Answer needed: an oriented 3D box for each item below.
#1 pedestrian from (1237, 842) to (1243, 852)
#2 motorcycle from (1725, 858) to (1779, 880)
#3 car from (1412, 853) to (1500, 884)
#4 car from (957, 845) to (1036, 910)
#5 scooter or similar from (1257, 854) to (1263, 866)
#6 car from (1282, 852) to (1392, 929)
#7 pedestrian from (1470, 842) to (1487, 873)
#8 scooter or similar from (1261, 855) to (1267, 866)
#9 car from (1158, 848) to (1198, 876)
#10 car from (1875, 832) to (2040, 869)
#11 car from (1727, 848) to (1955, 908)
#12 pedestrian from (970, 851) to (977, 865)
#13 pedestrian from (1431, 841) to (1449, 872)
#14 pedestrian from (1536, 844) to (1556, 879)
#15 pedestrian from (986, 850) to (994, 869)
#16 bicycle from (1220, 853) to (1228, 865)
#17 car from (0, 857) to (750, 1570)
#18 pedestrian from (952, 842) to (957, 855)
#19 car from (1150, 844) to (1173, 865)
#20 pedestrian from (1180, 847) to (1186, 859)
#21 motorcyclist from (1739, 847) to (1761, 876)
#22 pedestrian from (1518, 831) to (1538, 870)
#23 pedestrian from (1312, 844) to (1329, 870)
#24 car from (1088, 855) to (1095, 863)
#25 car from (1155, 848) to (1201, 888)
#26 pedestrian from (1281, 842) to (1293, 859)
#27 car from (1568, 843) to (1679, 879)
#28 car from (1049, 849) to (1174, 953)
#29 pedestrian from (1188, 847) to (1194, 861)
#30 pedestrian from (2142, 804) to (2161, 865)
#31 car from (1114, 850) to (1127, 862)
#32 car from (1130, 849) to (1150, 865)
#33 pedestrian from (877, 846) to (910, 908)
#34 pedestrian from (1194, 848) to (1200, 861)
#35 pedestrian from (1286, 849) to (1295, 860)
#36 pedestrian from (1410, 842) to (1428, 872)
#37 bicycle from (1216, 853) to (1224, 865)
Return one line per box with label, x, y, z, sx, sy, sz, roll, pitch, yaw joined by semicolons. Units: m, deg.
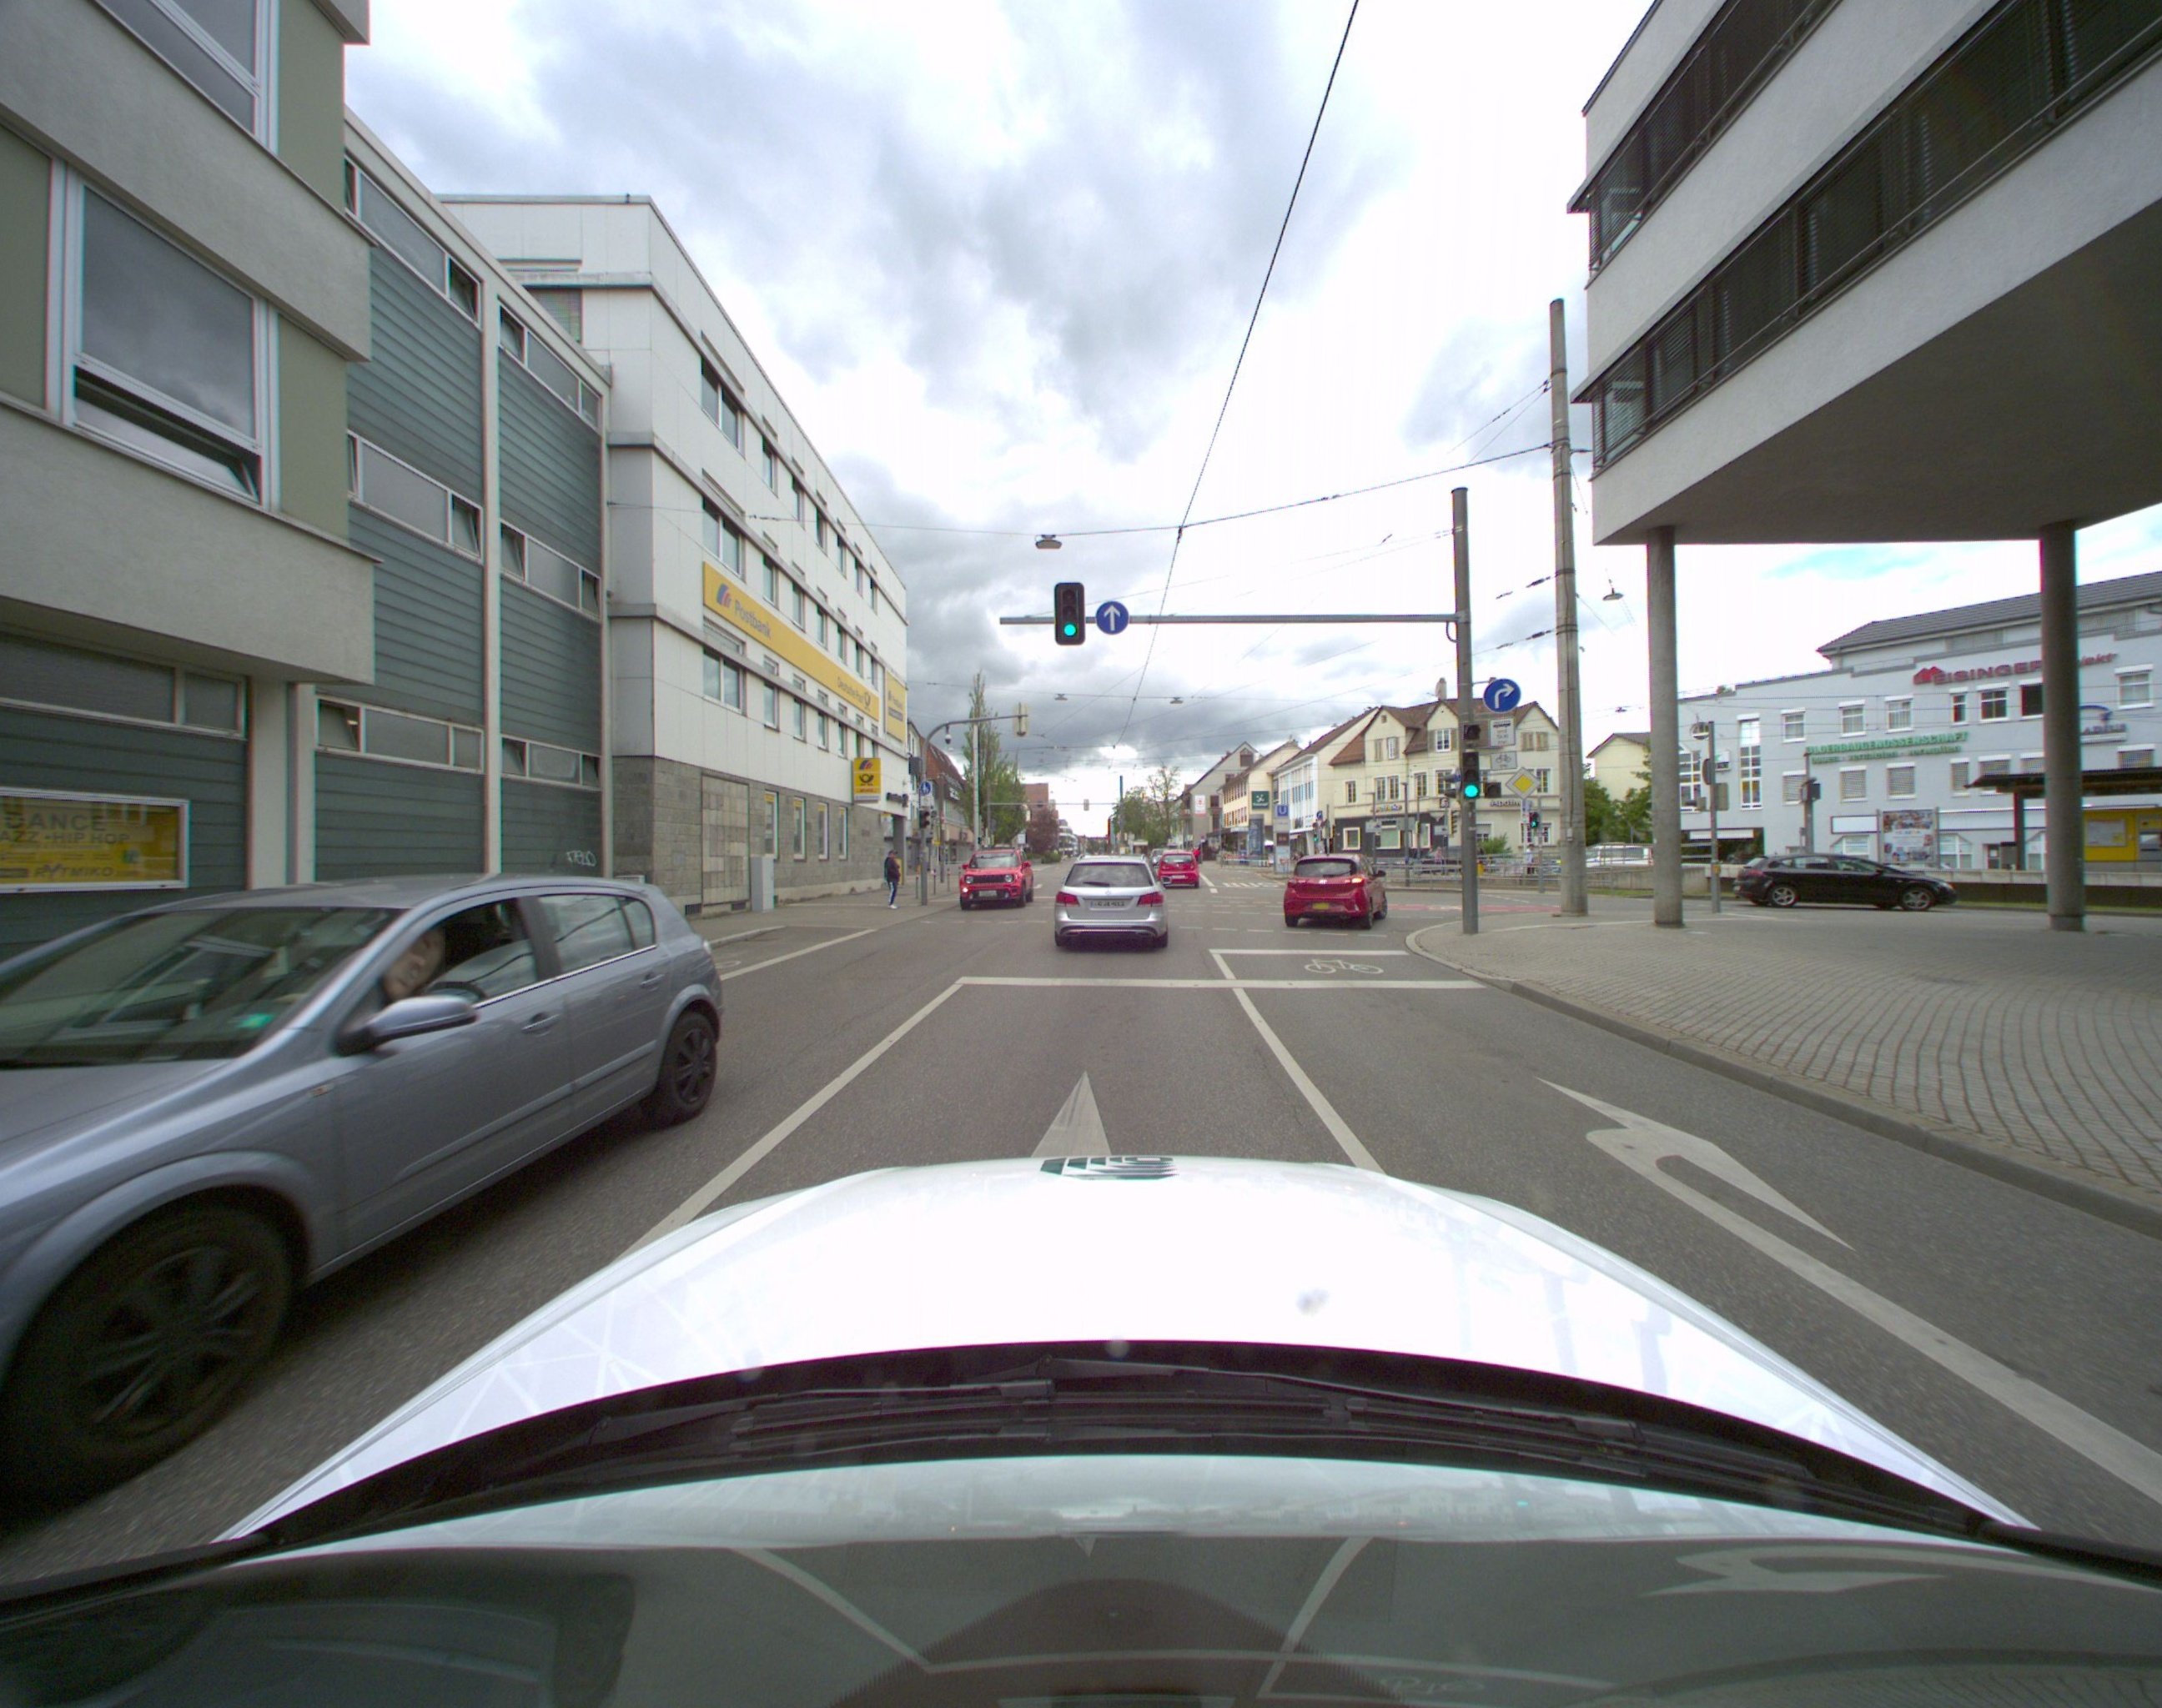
pedestrian;18.826;-0.828;96.372;0.532;1.218;0.579;0;0;-2
motorcycle;33.312;0.739;40.468;0.767;1.073;1.957;1;-1;-39
car;23.598;0.902;51.360;4.638;1.821;1.875;0;-1;45
car;-2.397;0.621;23.890;1.793;1.694;3.898;-2;0;1
scooter or similar;16.205;0.538;73.595;0.271;1.001;1.028;-1;0;-3
car;5.646;0.689;17.648;1.682;1.452;4.024;-1;0;26
pedestrian;22.211;0.186;45.549;0.779;1.718;0.654;1;0;31
scooter or similar;16.570;0.588;73.633;0.271;1.001;1.028;-1;0;-3
car;5.638;0.457;47.747;1.729;1.508;3.997;-1;0;-2
car;37.906;-0.116;35.327;2.000;1.471;4.729;1;-1;-39
car;19.464;0.604;21.097;3.950;1.410;1.750;-1;0;25
pedestrian;-12.446;0.517;94.166;0.705;1.606;0.576;-1;0;-20
pedestrian;19.973;0.137;45.334;0.793;1.718;0.642;0;1;-43
pedestrian;23.565;0.368;41.236;0.793;1.718;0.642;0;1;-43
pedestrian;-8.035;0.503;71.648;0.634;1.606;0.701;-1;0;-13
bicycle;14.228;0.482;80.854;0.446;1.107;2.150;-1;0;1
car;-3.069;0.782;3.417;1.651;1.466;3.921;-2;0;1
pedestrian;-15.206;-0.657;98.076;0.578;1.606;0.641;-1;0;-13
car;6.984;0.067;71.182;1.728;1.759;4.002;-1;0;2
pedestrian;12.536;-0.137;99.938;0.577;1.435;0.650;0;0;-5
motorcyclist;33.281;0.374;40.527;0.767;1.394;0.685;1;-1;-39
pedestrian;19.959;-0.152;36.358;0.641;1.718;0.709;-1;0;40
pedestrian;15.974;0.191;54.343;0.839;1.718;0.726;-1;0;-3
car;2.890;1.398;230.454;1.987;2.013;3.999;0;0;-1
car;4.020;0.530;33.349;1.724;1.508;4.010;0;0;9
pedestrian;19.539;-0.345;77.234;0.642;1.591;0.892;0;0;-20
car;29.853;0.394;44.961;2.000;1.919;4.729;1;-1;-39
car;0.509;0.701;14.258;1.839;1.508;4.172;-1;0;1
pedestrian;12.864;0.026;95.323;0.576;1.666;0.650;0;0;-3
pedestrian;30.971;-0.554;23.176;0.779;1.718;0.694;1;1;37
car;6.817;0.409;139.828;1.988;2.013;3.998;0;0;-1
car;6.650;0.295;91.562;1.987;1.750;4.000;0;0;0
pedestrian;-5.301;0.627;23.062;0.644;1.718;0.784;0;0;7
pedestrian;13.070;0.049;92.076;0.576;1.469;0.651;0;0;-1
pedestrian;21.063;0.062;81.725;0.734;1.164;0.642;0;0;-2
pedestrian;19.250;0.167;46.381;0.702;1.718;0.647;-1;0;-11
bicycle;13.781;0.498;80.854;0.446;1.091;2.150;-1;0;1
